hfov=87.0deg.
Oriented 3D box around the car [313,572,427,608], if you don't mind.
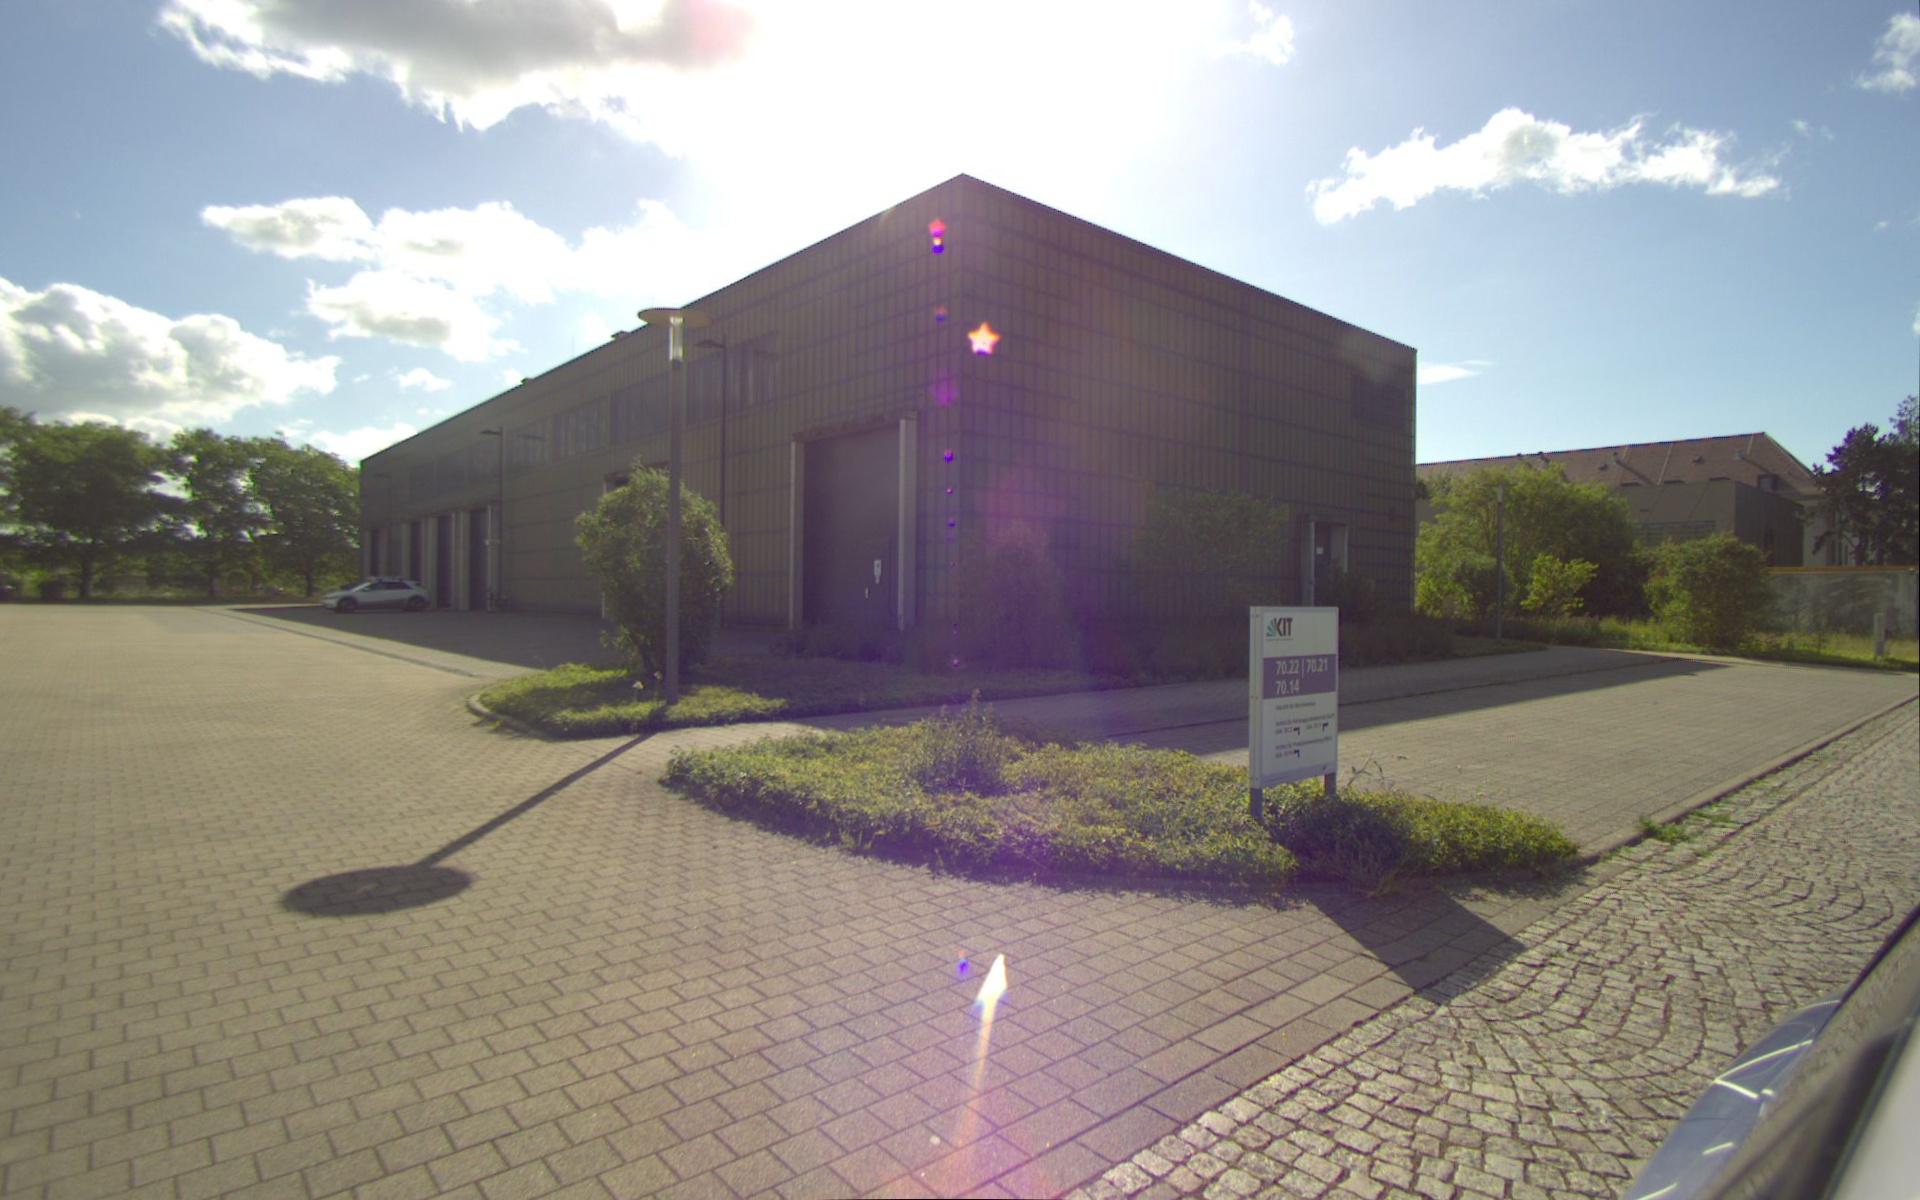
[{"bbox_3d":[-28.728,-0.478,49.367,4.501,1.684,1.996,0,1,-42],"label":"car"}]
